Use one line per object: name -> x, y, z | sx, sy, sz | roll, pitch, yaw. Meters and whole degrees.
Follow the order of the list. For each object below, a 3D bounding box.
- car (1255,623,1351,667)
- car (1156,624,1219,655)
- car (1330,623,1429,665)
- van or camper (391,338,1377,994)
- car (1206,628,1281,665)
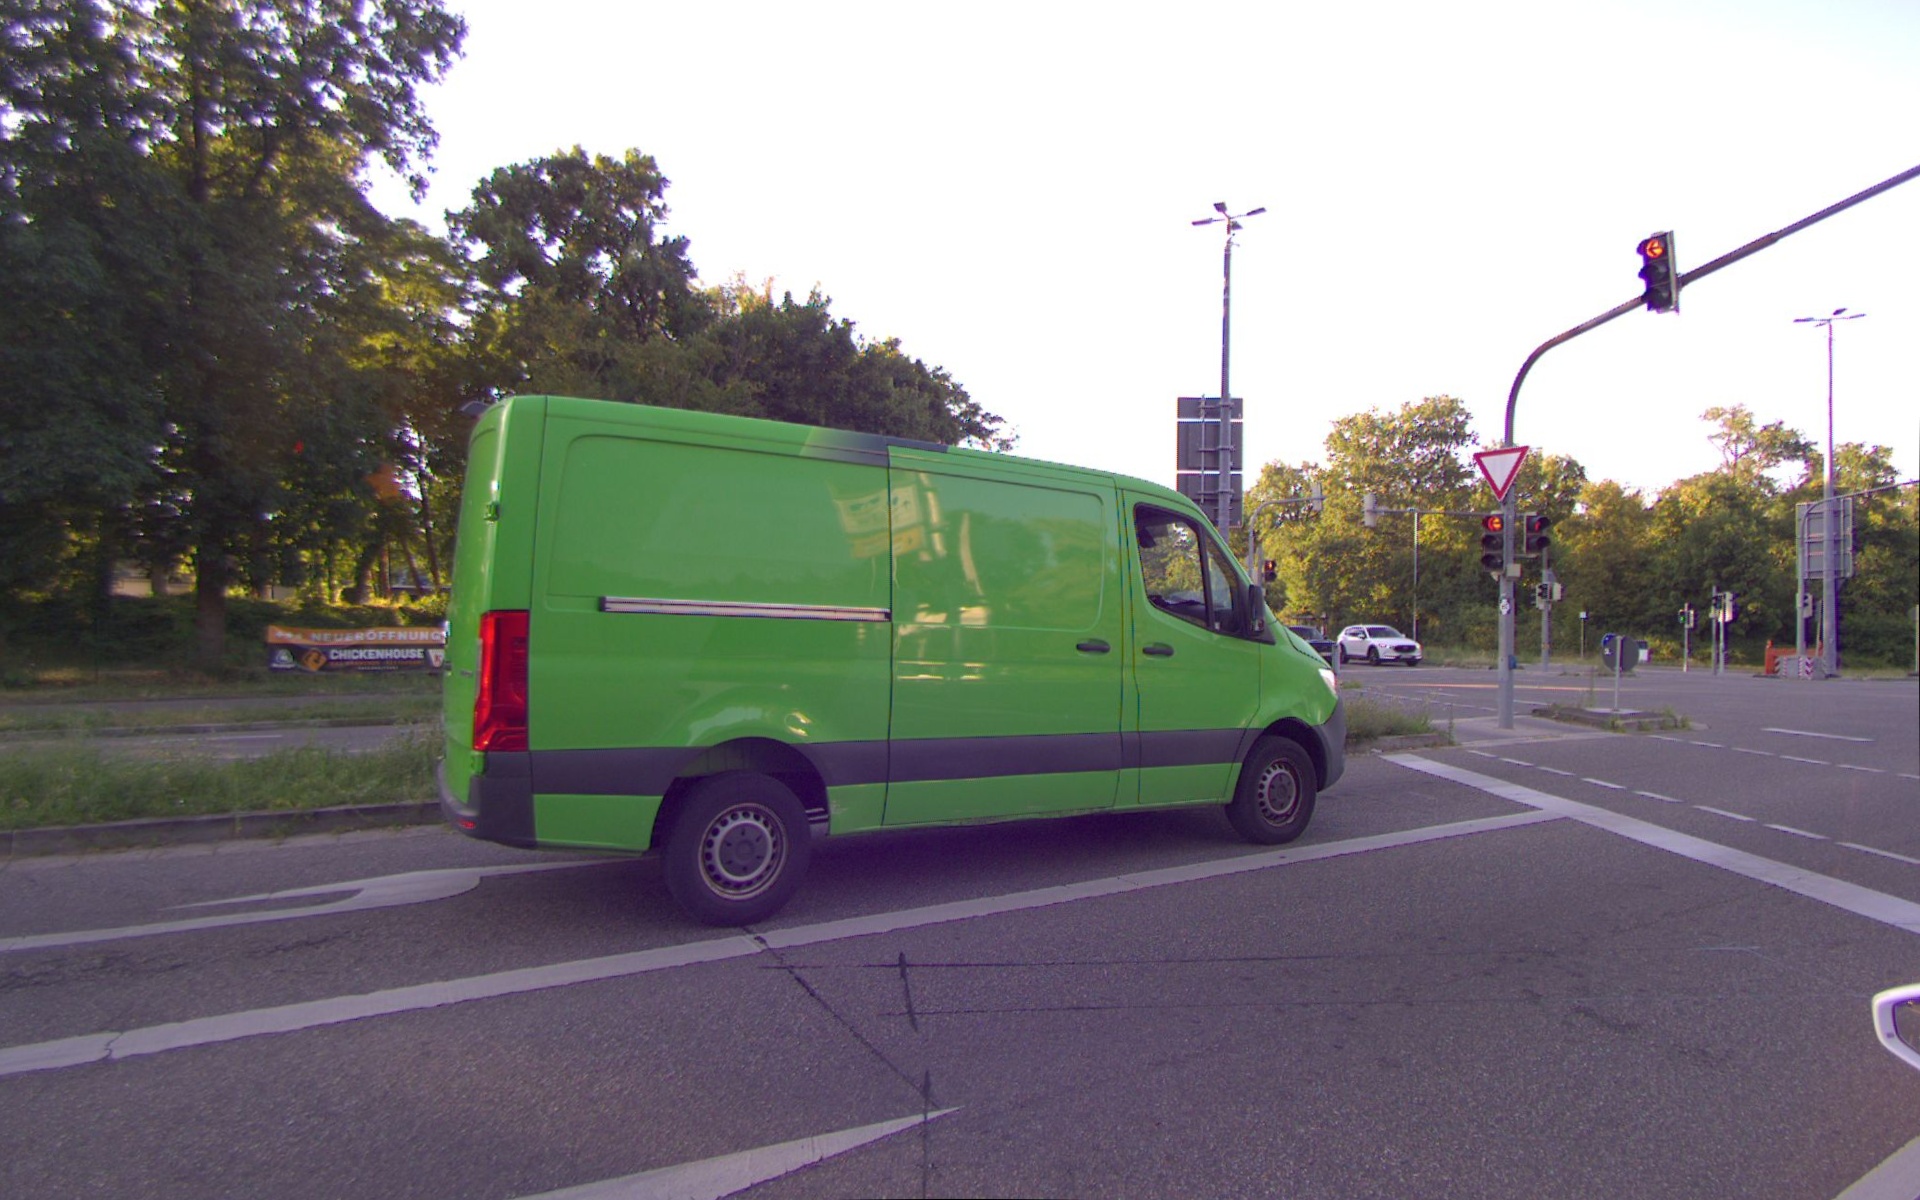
car -> 13.800, 1.784, 40.696 | 1.963, 1.661, 4.252 | 1, -1, -8
car -> 12.676, 2.179, 56.197 | 1.964, 1.661, 4.250 | 1, -1, -10
car -> 17.487, 1.815, 42.102 | 1.963, 1.661, 4.252 | 1, -1, -8
van or camper -> -0.089, 0.323, 6.194 | 5.832, 2.453, 1.982 | 2, -1, -33
car -> 13.489, 2.193, 48.044 | 1.963, 1.661, 4.252 | 1, -1, -8
